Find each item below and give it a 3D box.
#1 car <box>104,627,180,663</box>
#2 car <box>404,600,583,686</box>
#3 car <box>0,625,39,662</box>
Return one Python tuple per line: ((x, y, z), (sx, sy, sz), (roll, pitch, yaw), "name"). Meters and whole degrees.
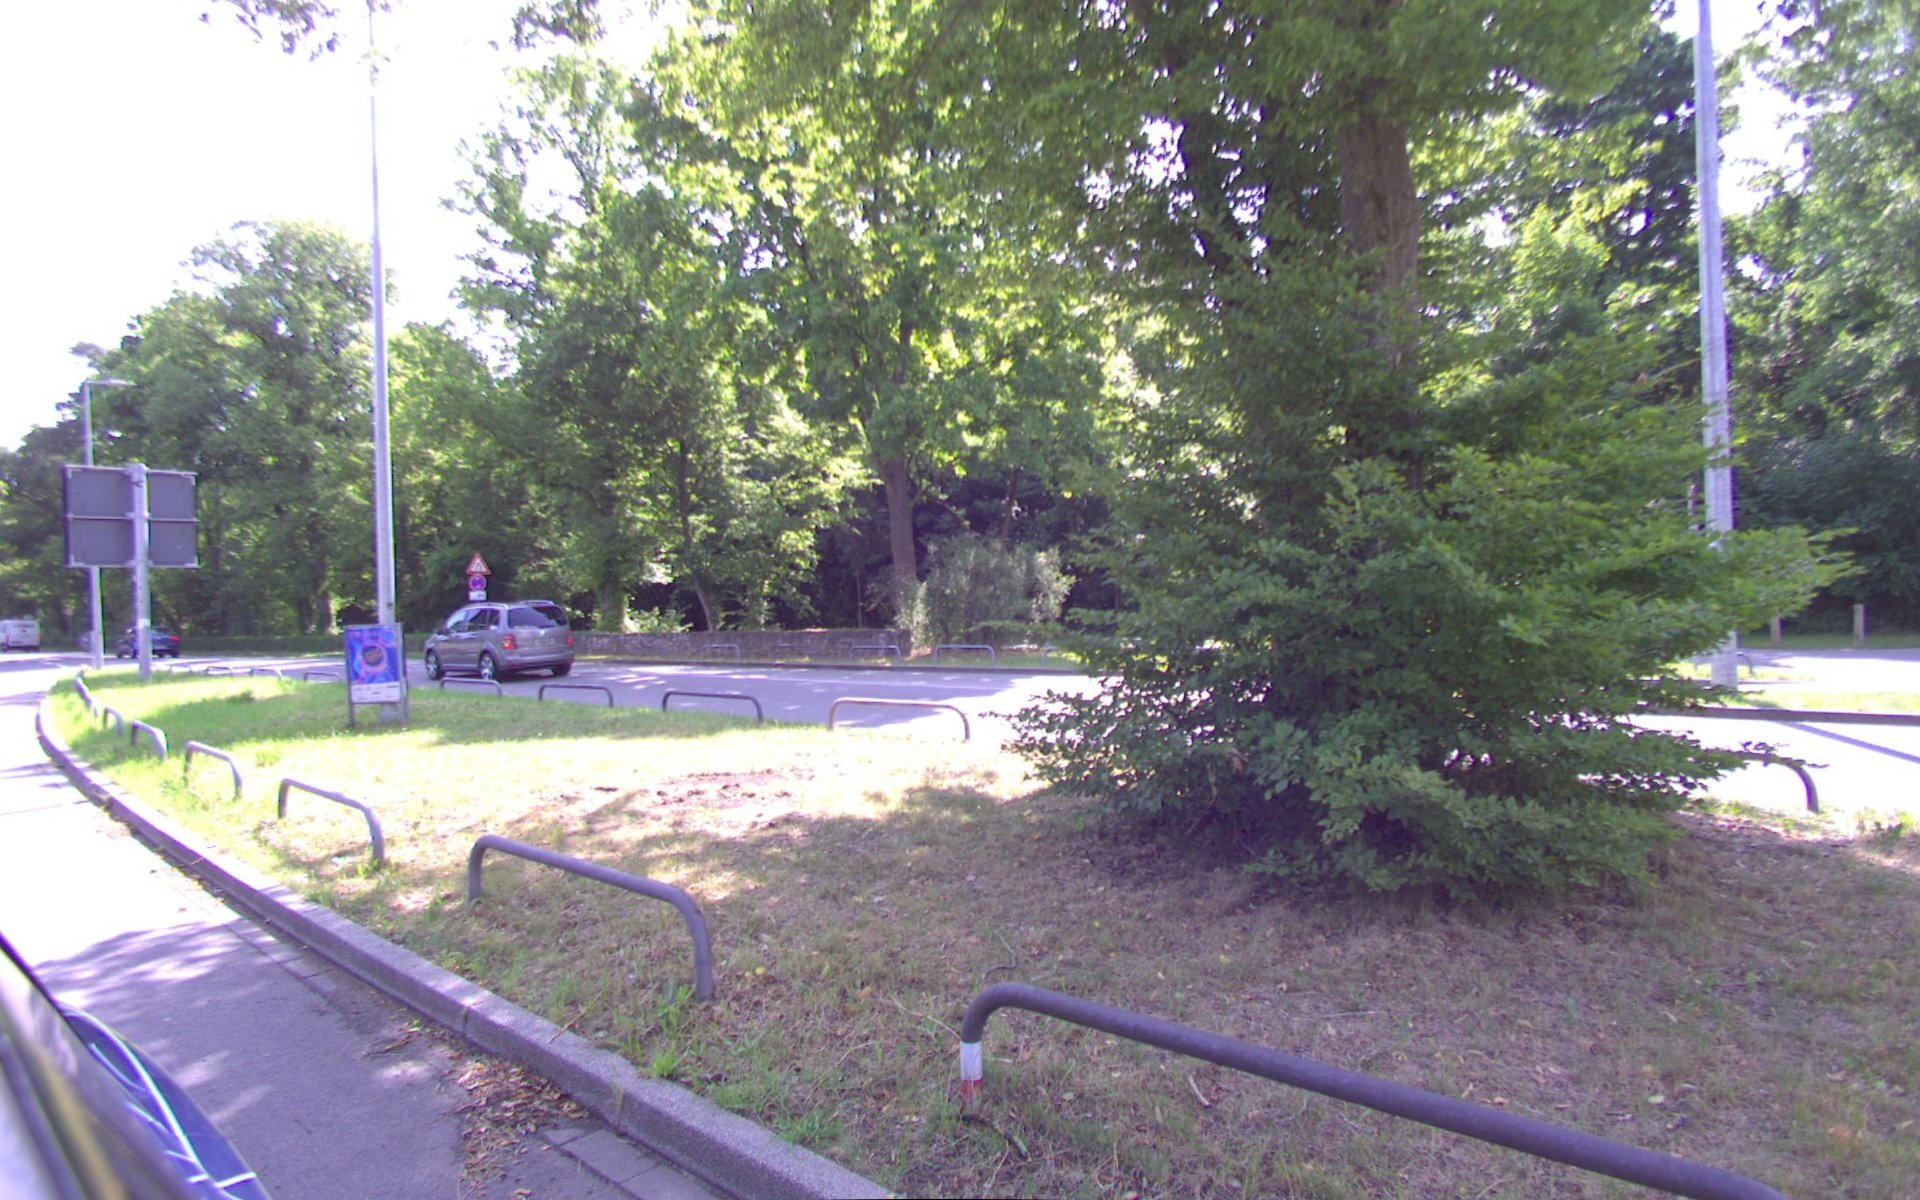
((-37.088, 2.007, 45.868), (4.059, 1.457, 1.680), (-1, 2, 36), "car")
((-10.365, 0.934, 22.355), (4.293, 1.642, 1.745), (-2, 1, 38), "car")
((-68.231, 3.057, 72.849), (5.356, 2.449, 1.956), (-1, 1, 38), "car")
